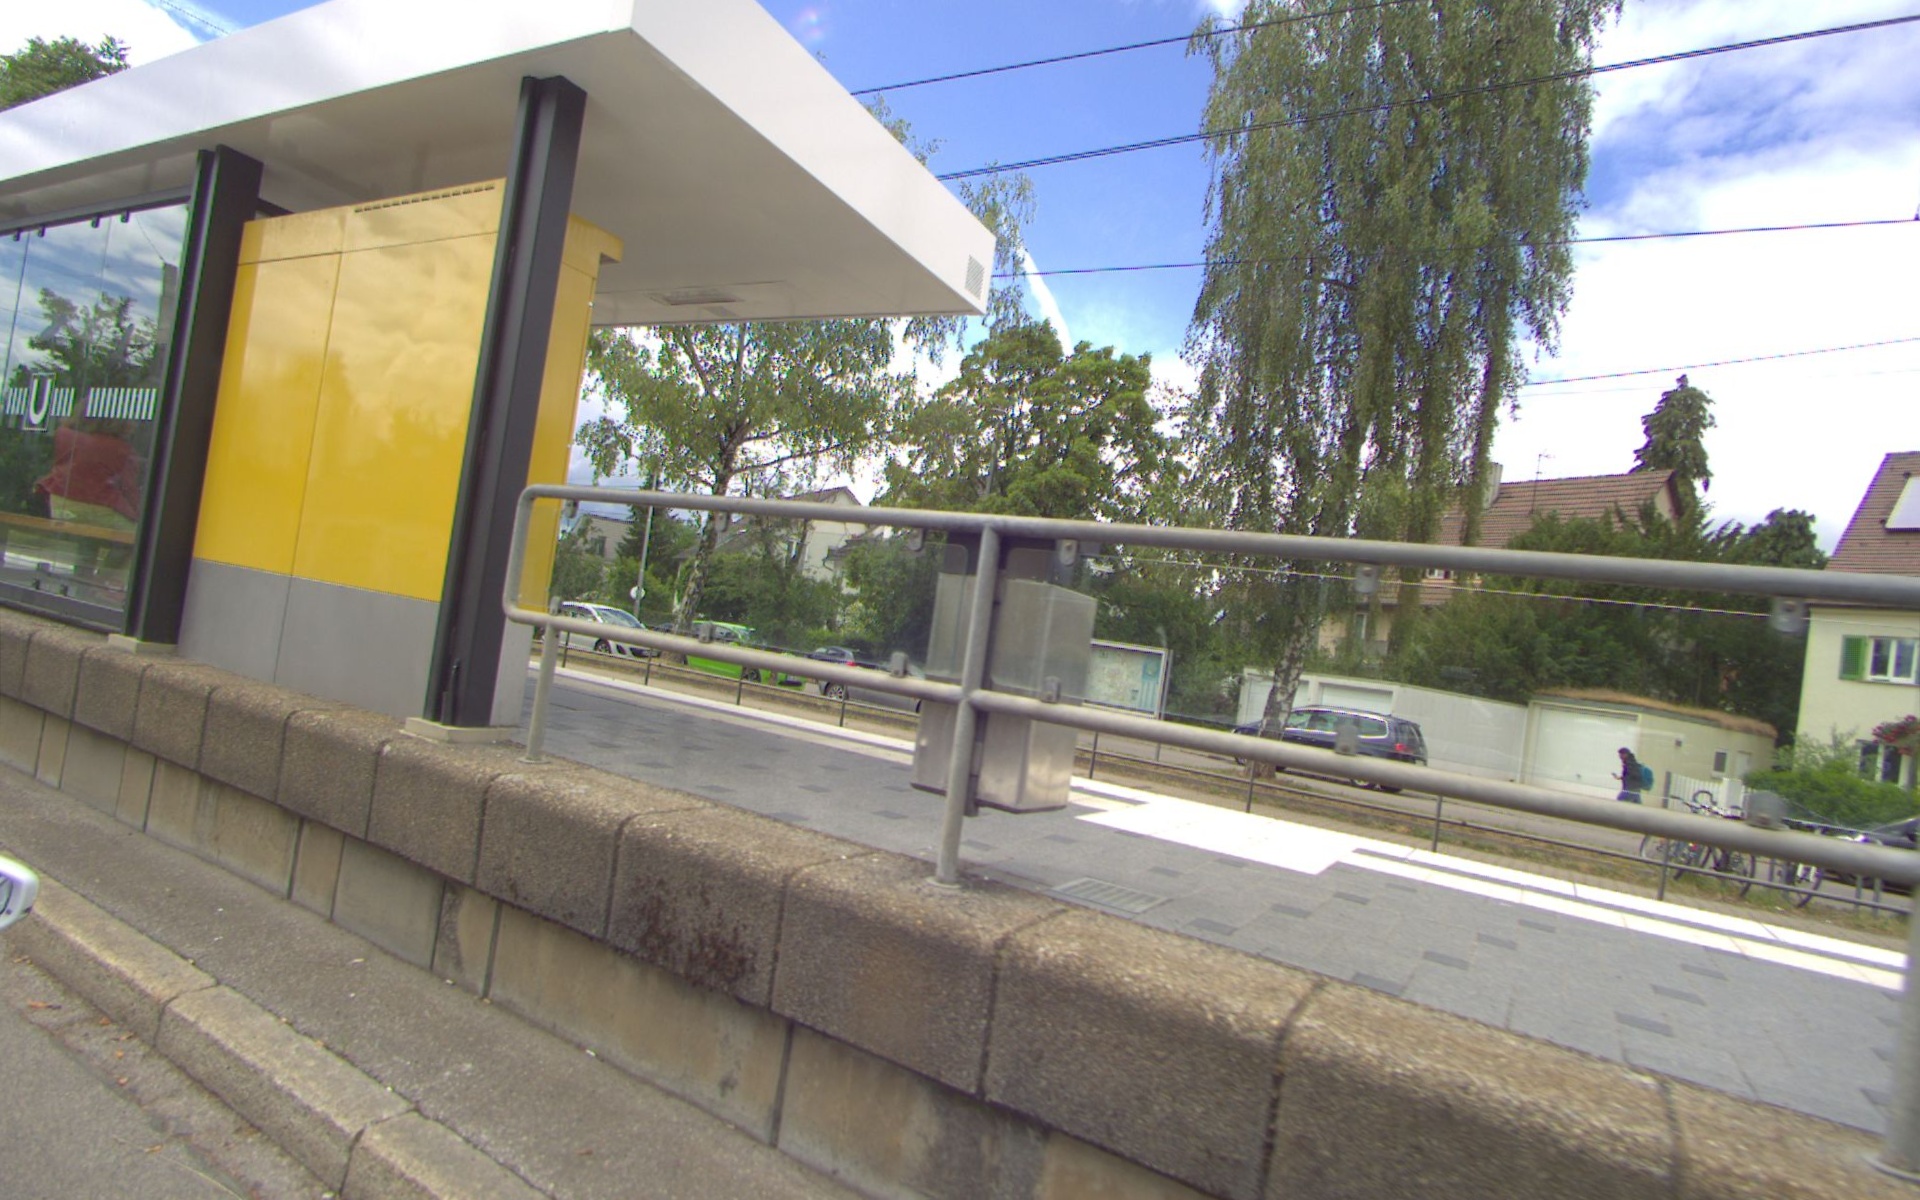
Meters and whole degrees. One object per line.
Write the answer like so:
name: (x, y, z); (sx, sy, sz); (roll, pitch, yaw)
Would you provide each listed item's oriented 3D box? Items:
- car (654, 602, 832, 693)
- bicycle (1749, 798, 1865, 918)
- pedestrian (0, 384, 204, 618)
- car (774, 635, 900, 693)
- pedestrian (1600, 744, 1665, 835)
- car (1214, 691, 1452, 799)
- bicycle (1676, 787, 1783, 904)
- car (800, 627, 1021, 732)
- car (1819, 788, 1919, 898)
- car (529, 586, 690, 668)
car: (-5.271, 1.125, 24.307); (3.934, 1.591, 1.734); (7, -3, 32)
bicycle: (9.594, 2.885, 11.457); (0.547, 1.053, 1.771); (7, -3, 28)
pedestrian: (-5.369, -0.608, 6.297); (0.707, 1.313, 0.622); (7, -2, 27)
car: (-4.546, 2.279, 36.552); (4.866, 1.505, 1.754); (4, -4, 44)
pedestrian: (14.227, 3.984, 21.300); (0.933, 1.704, 0.810); (7, -2, 32)
car: (8.591, 3.327, 23.539); (1.811, 1.654, 4.781); (10, -3, -43)
bicycle: (8.780, 2.762, 11.536); (0.547, 1.053, 1.771); (7, -3, 27)
car: (-1.088, 1.702, 21.711); (4.190, 1.591, 2.068); (7, -3, 32)
car: (16.497, 4.144, 15.824); (4.364, 1.502, 1.814); (6, -3, 44)
car: (-9.421, 0.709, 26.975); (4.031, 1.591, 1.761); (7, -3, 32)
